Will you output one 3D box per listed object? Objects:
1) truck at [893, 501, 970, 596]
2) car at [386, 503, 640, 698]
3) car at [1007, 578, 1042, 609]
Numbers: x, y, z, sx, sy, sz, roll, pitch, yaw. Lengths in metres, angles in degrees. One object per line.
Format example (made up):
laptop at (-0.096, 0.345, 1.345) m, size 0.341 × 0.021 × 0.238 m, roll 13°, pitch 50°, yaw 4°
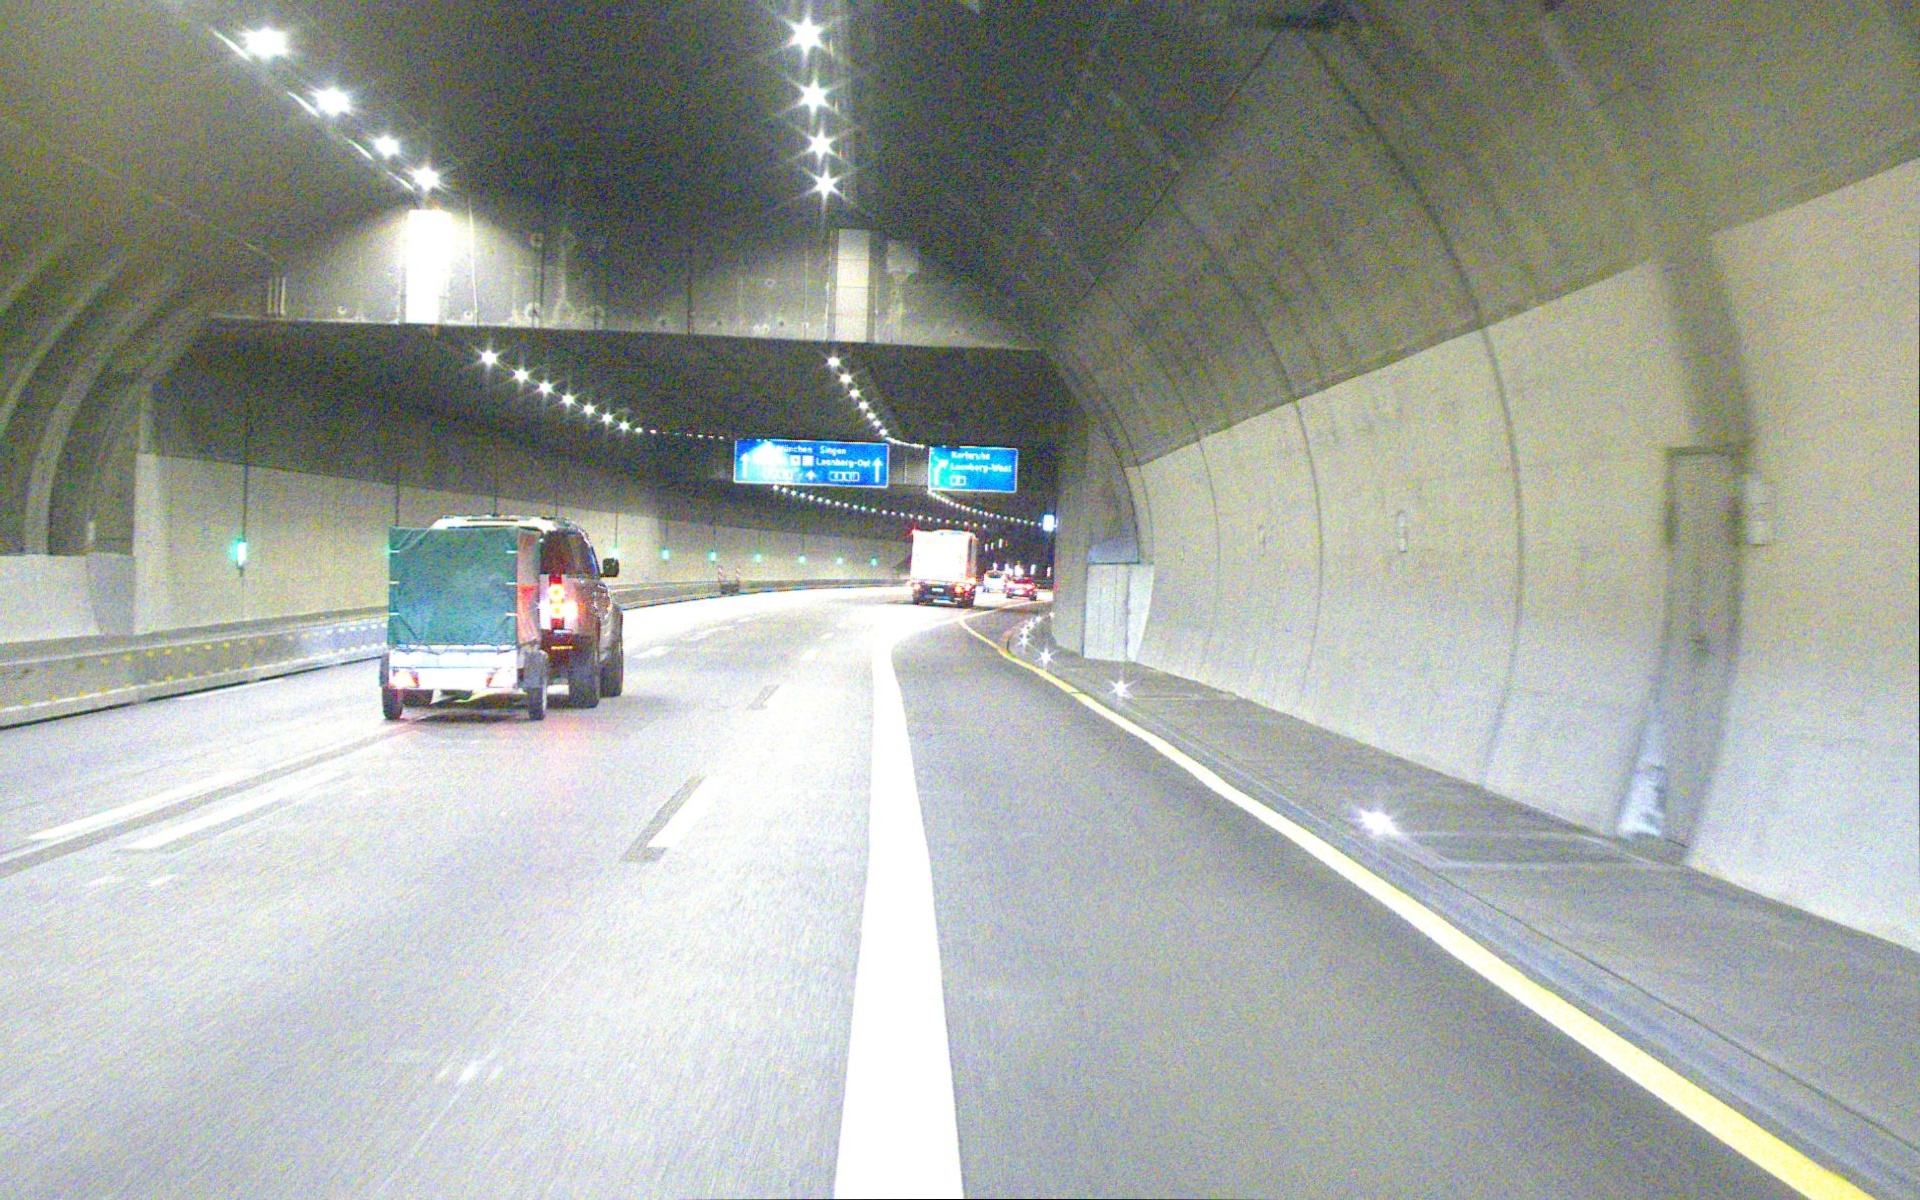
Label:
truck at (-1.418, -2.506, 162.437) m, size 3.474 × 4.301 × 10.953 m, roll 0°, pitch 2°, yaw -1°
car at (-4.645, 0.064, 36.496) m, size 1.993 × 1.889 × 5.453 m, roll -1°, pitch -1°, yaw 0°
car at (4.204, -0.416, 222.788) m, size 1.994 × 1.888 × 5.532 m, roll -1°, pitch 1°, yaw 4°
